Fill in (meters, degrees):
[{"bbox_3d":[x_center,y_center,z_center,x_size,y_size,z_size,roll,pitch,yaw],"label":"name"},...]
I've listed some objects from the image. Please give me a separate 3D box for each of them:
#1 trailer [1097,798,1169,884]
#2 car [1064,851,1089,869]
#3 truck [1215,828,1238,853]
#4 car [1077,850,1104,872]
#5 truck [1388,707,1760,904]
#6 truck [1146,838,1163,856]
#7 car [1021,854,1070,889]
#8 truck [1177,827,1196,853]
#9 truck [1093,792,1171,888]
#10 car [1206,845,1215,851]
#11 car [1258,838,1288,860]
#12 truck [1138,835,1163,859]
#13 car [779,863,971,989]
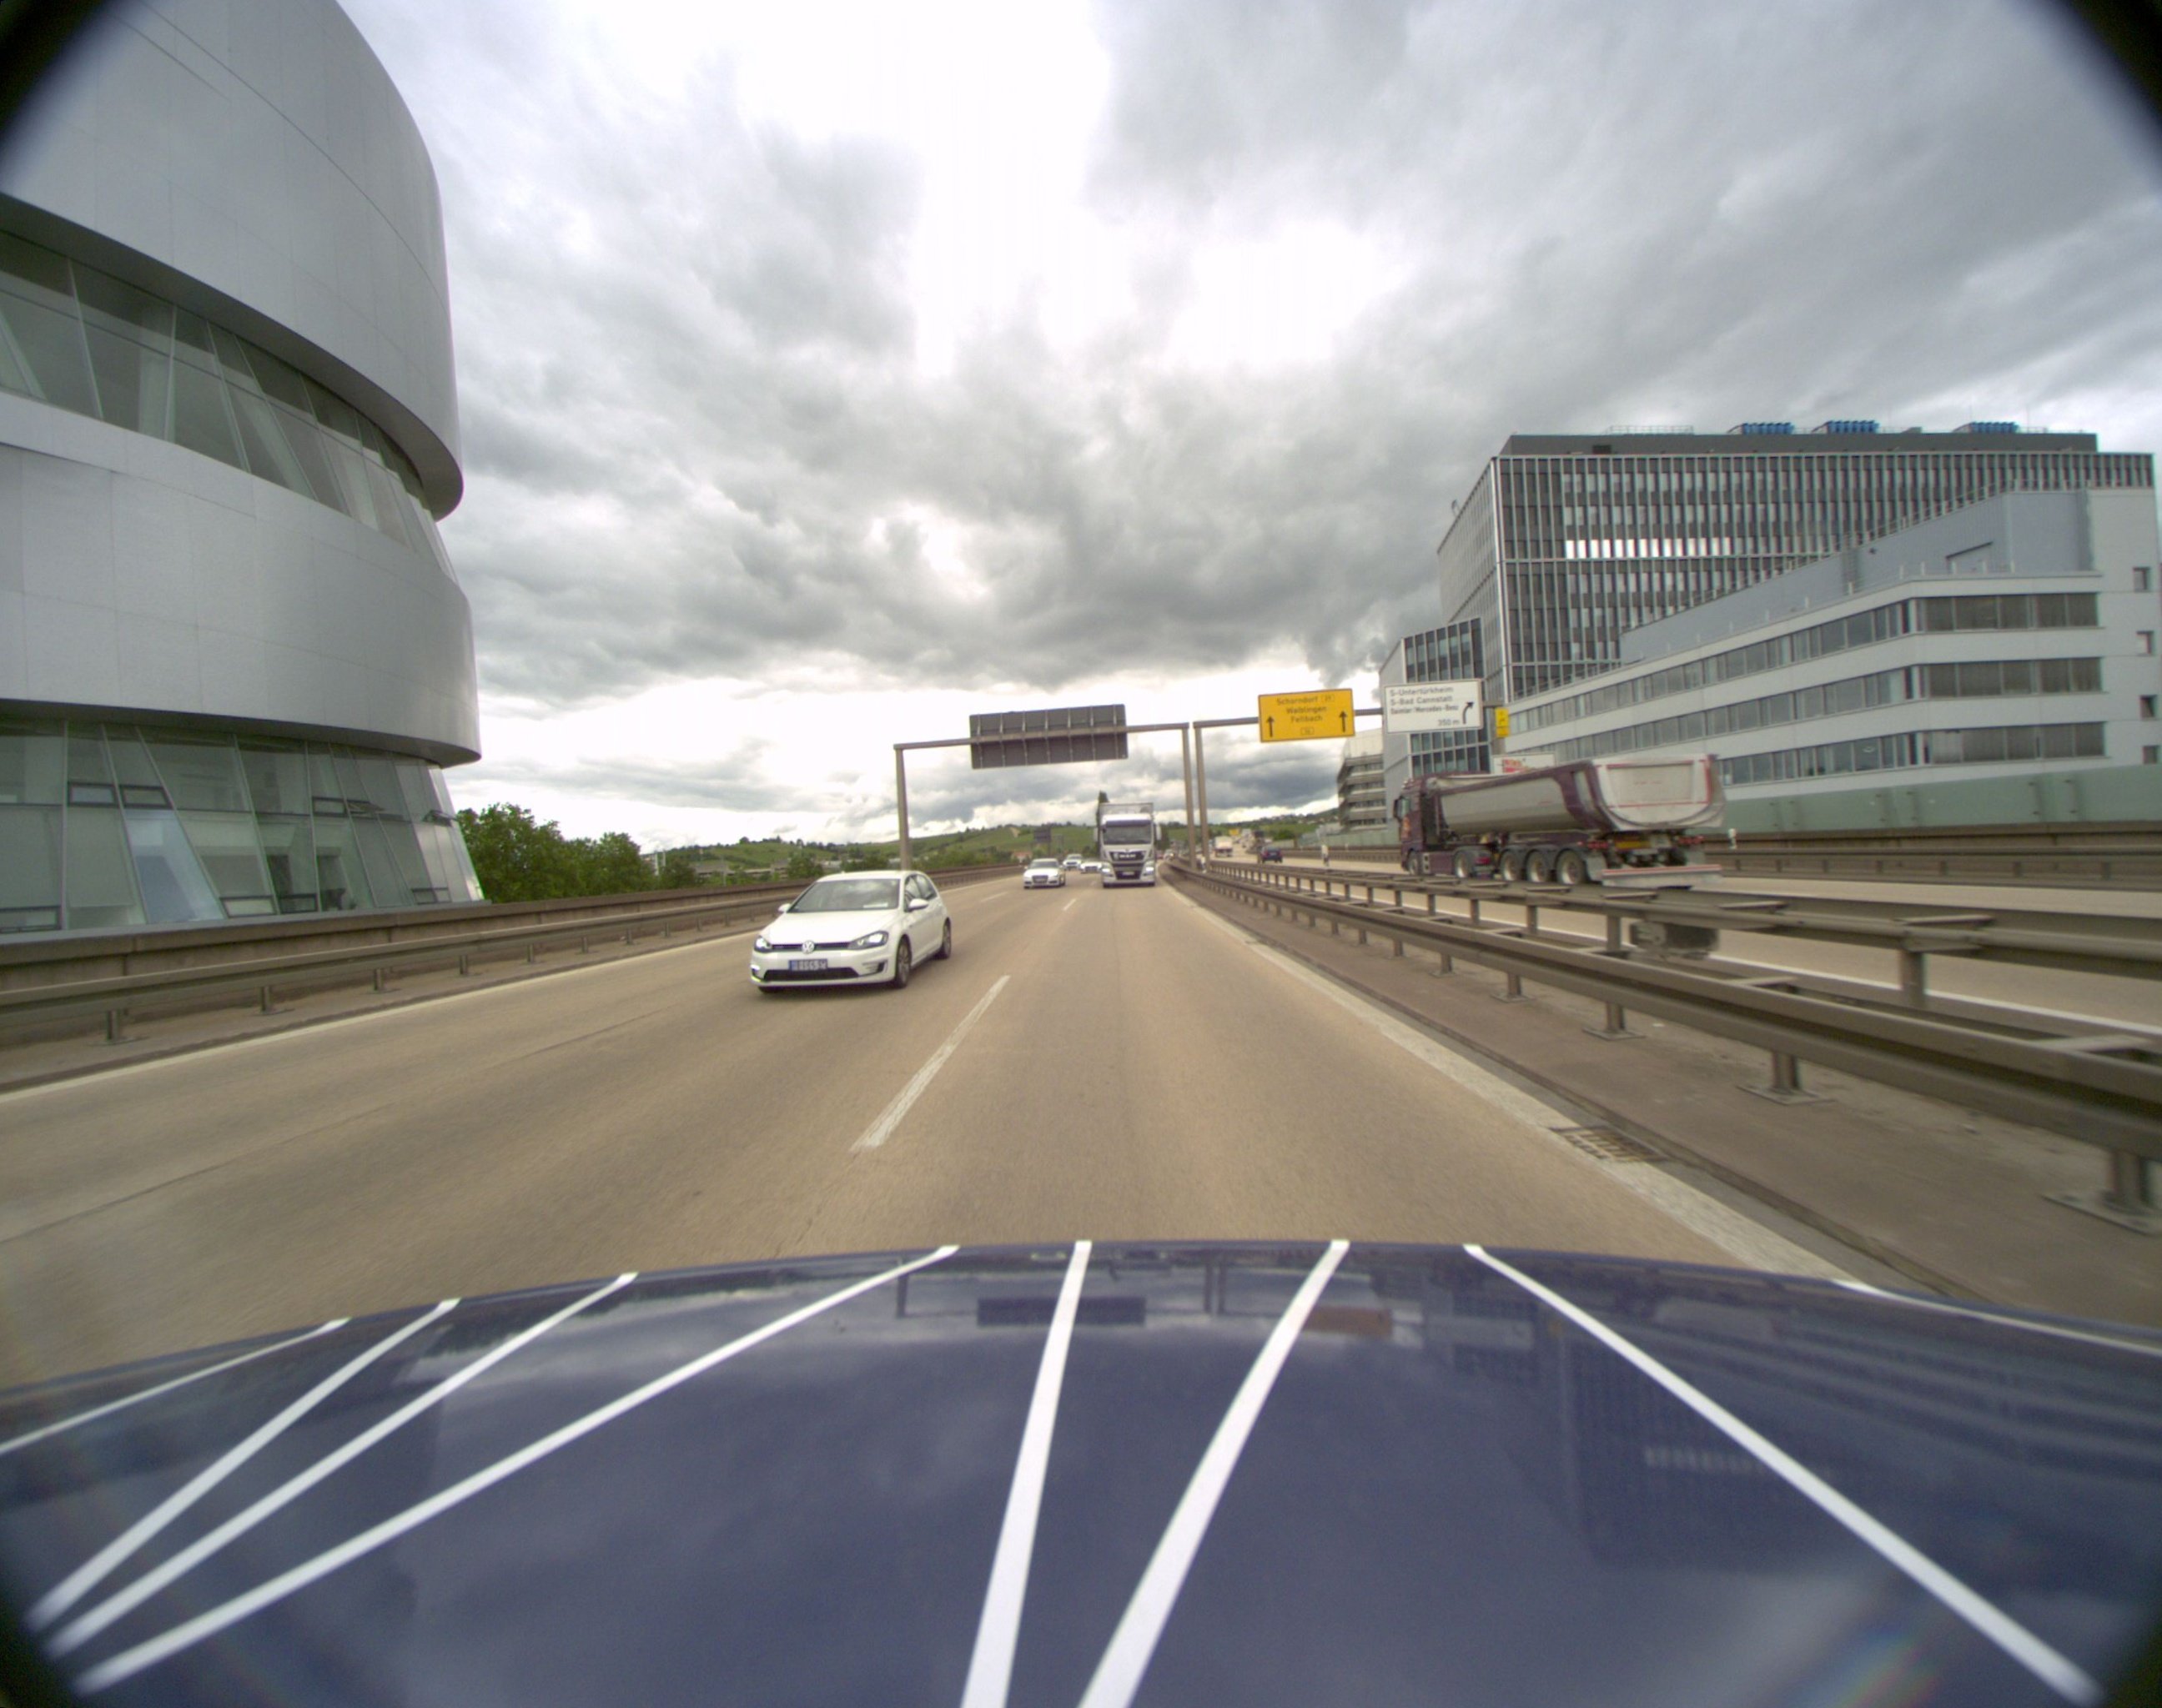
[{"bbox_3d":[2.829,-0.687,42.711,3.189,4.003,11.766,-4,1,3],"label":"trailer"},{"bbox_3d":[-0.425,0.614,77.720,1.930,1.585,4.062,-3,1,7],"label":"car"},{"bbox_3d":[23.633,-2.160,124.105,3.063,3.754,12.524,-2,1,9],"label":"truck"},{"bbox_3d":[0.822,0.546,62.802,1.930,1.585,4.061,-3,1,3],"label":"car"},{"bbox_3d":[12.201,-1.038,21.067,2.817,3.787,12.019,-2,1,2],"label":"truck"},{"bbox_3d":[13.896,-1.400,143.664,3.063,3.168,8.306,-2,1,6],"label":"truck"},{"bbox_3d":[-1.736,0.831,38.353,1.930,1.499,4.062,-3,1,4],"label":"car"},{"bbox_3d":[19.589,-2.607,141.112,3.063,4.536,12.075,-2,1,8],"label":"truck"},{"bbox_3d":[2.421,-0.658,36.095,3.141,4.014,5.689,-4,1,4],"label":"truck"},{"bbox_3d":[36.094,-1.735,211.826,1.998,1.597,4.808,-2,1,5],"label":"car"},{"bbox_3d":[16.131,-0.460,63.968,1.997,1.665,4.410,-2,1,8],"label":"car"},{"bbox_3d":[9.879,-1.012,107.432,3.063,3.168,8.306,-2,1,7],"label":"truck"},{"bbox_3d":[-3.044,0.984,12.202,1.931,1.499,4.060,-2,1,0],"label":"car"}]
